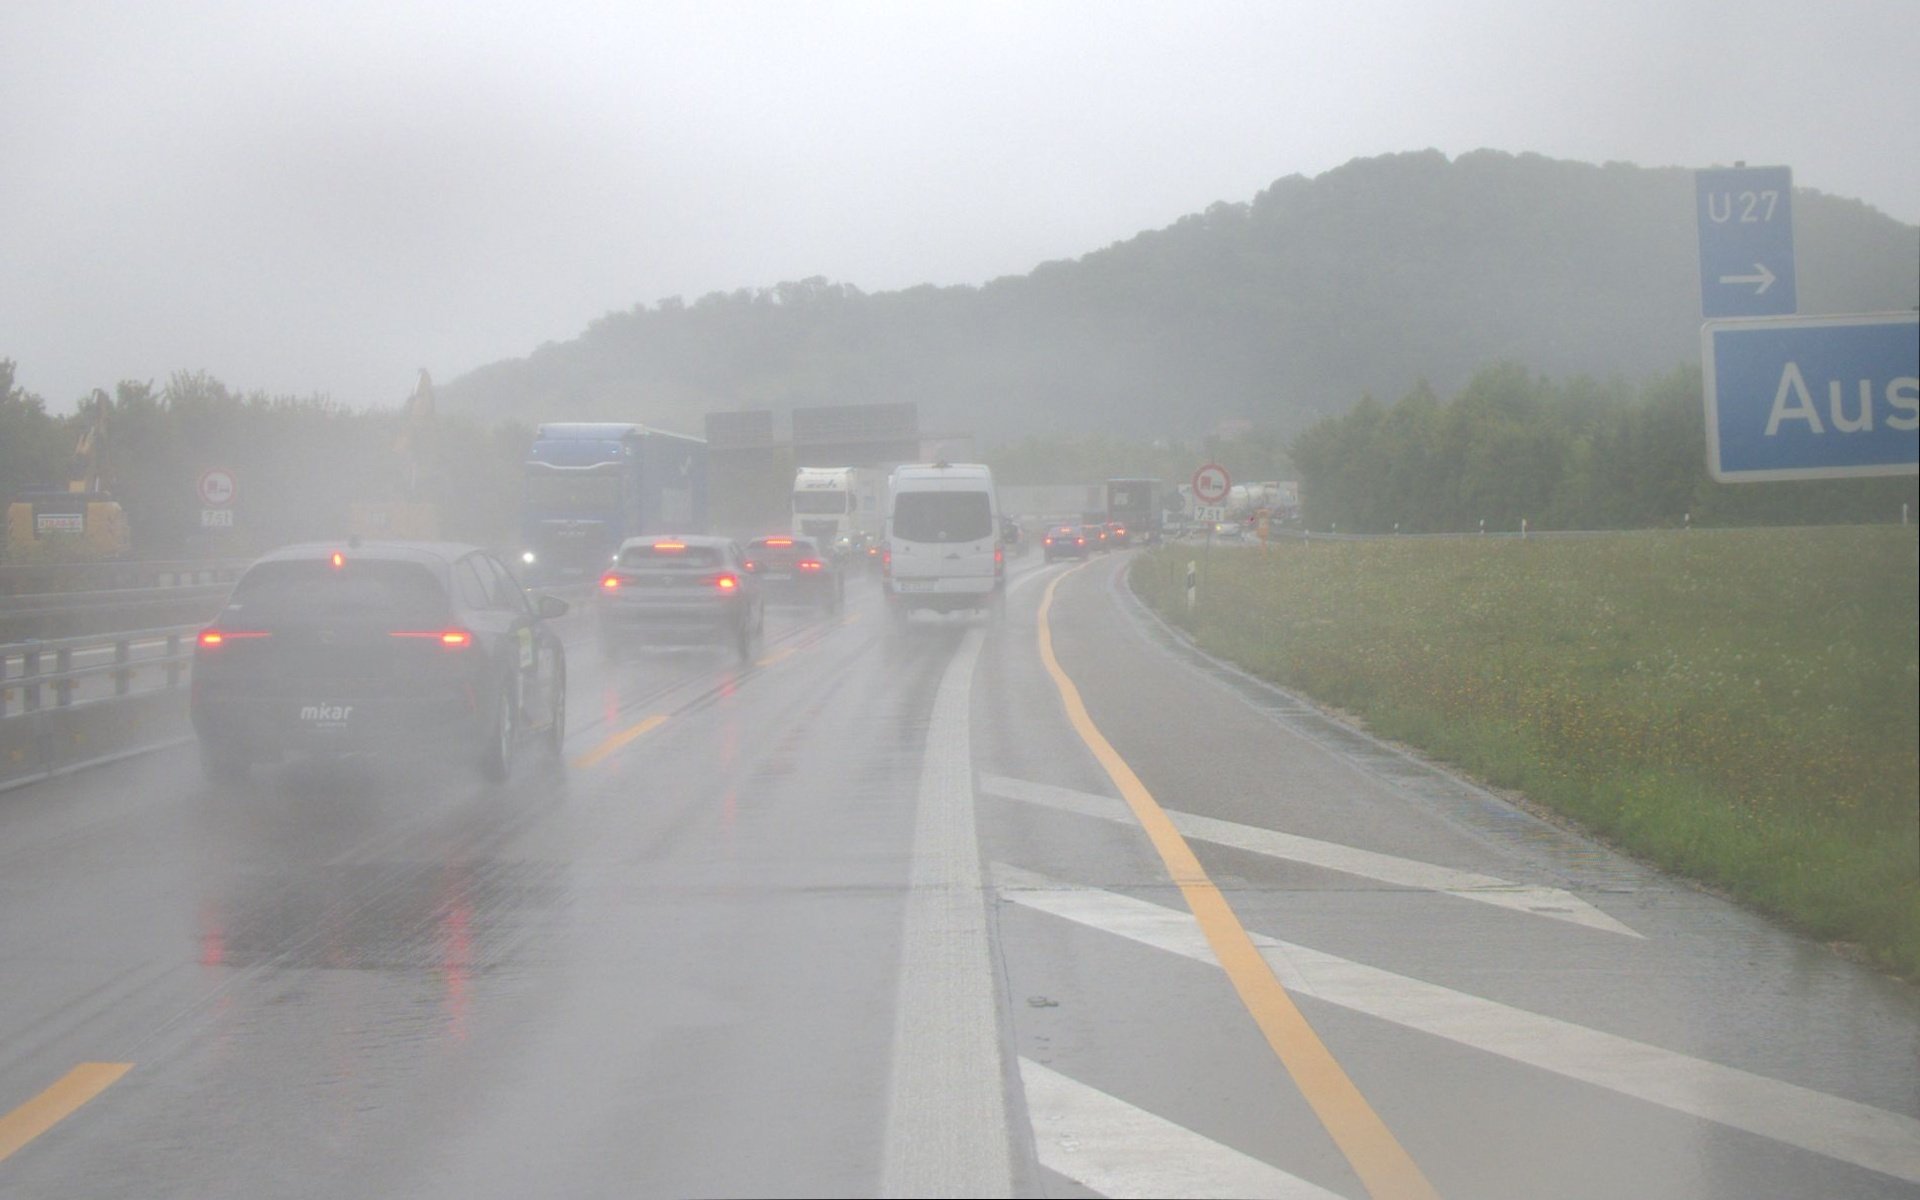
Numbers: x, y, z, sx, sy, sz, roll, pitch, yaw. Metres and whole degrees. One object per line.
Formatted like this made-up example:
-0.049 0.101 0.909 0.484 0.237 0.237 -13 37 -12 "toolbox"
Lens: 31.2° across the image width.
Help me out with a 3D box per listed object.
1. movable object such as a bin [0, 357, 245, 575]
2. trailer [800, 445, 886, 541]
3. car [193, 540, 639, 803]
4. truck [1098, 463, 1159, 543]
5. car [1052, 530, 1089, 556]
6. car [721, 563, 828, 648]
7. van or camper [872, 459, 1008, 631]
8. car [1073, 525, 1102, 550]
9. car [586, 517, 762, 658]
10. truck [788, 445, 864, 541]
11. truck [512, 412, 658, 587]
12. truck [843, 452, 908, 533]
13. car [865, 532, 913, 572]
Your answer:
-24.249 -3.753 99.331 4.171 5.894 11.044 1 1 4 "movable object such as a bin"
-5.138 -4.801 153.119 2.494 4.035 12.586 -1 2 4 "trailer"
-3.214 0.352 21.277 1.939 1.422 4.760 0 1 1 "car"
10.421 -5.923 211.750 3.321 4.768 9.905 1 1 5 "truck"
4.605 -2.378 143.251 1.384 1.074 3.123 0 1 -1 "car"
-3.433 0.075 64.056 1.852 1.495 4.000 0 1 -1 "car"
-0.373 -0.921 56.867 2.139 2.712 4.649 0 1 -1 "van or camper"
6.280 -3.074 169.106 1.384 1.252 3.122 0 1 1 "car"
-3.473 -0.187 42.365 1.867 1.653 3.988 0 1 -1 "car"
-5.669 -4.566 146.308 2.484 4.017 6.448 0 2 5 "truck"
-9.034 -2.429 83.469 2.624 4.067 6.669 0 2 2 "truck"
-4.347 -5.566 178.517 2.884 4.087 6.926 -1 2 2 "truck"
-1.974 -1.343 95.812 1.262 1.074 3.255 0 1 0 "car"
